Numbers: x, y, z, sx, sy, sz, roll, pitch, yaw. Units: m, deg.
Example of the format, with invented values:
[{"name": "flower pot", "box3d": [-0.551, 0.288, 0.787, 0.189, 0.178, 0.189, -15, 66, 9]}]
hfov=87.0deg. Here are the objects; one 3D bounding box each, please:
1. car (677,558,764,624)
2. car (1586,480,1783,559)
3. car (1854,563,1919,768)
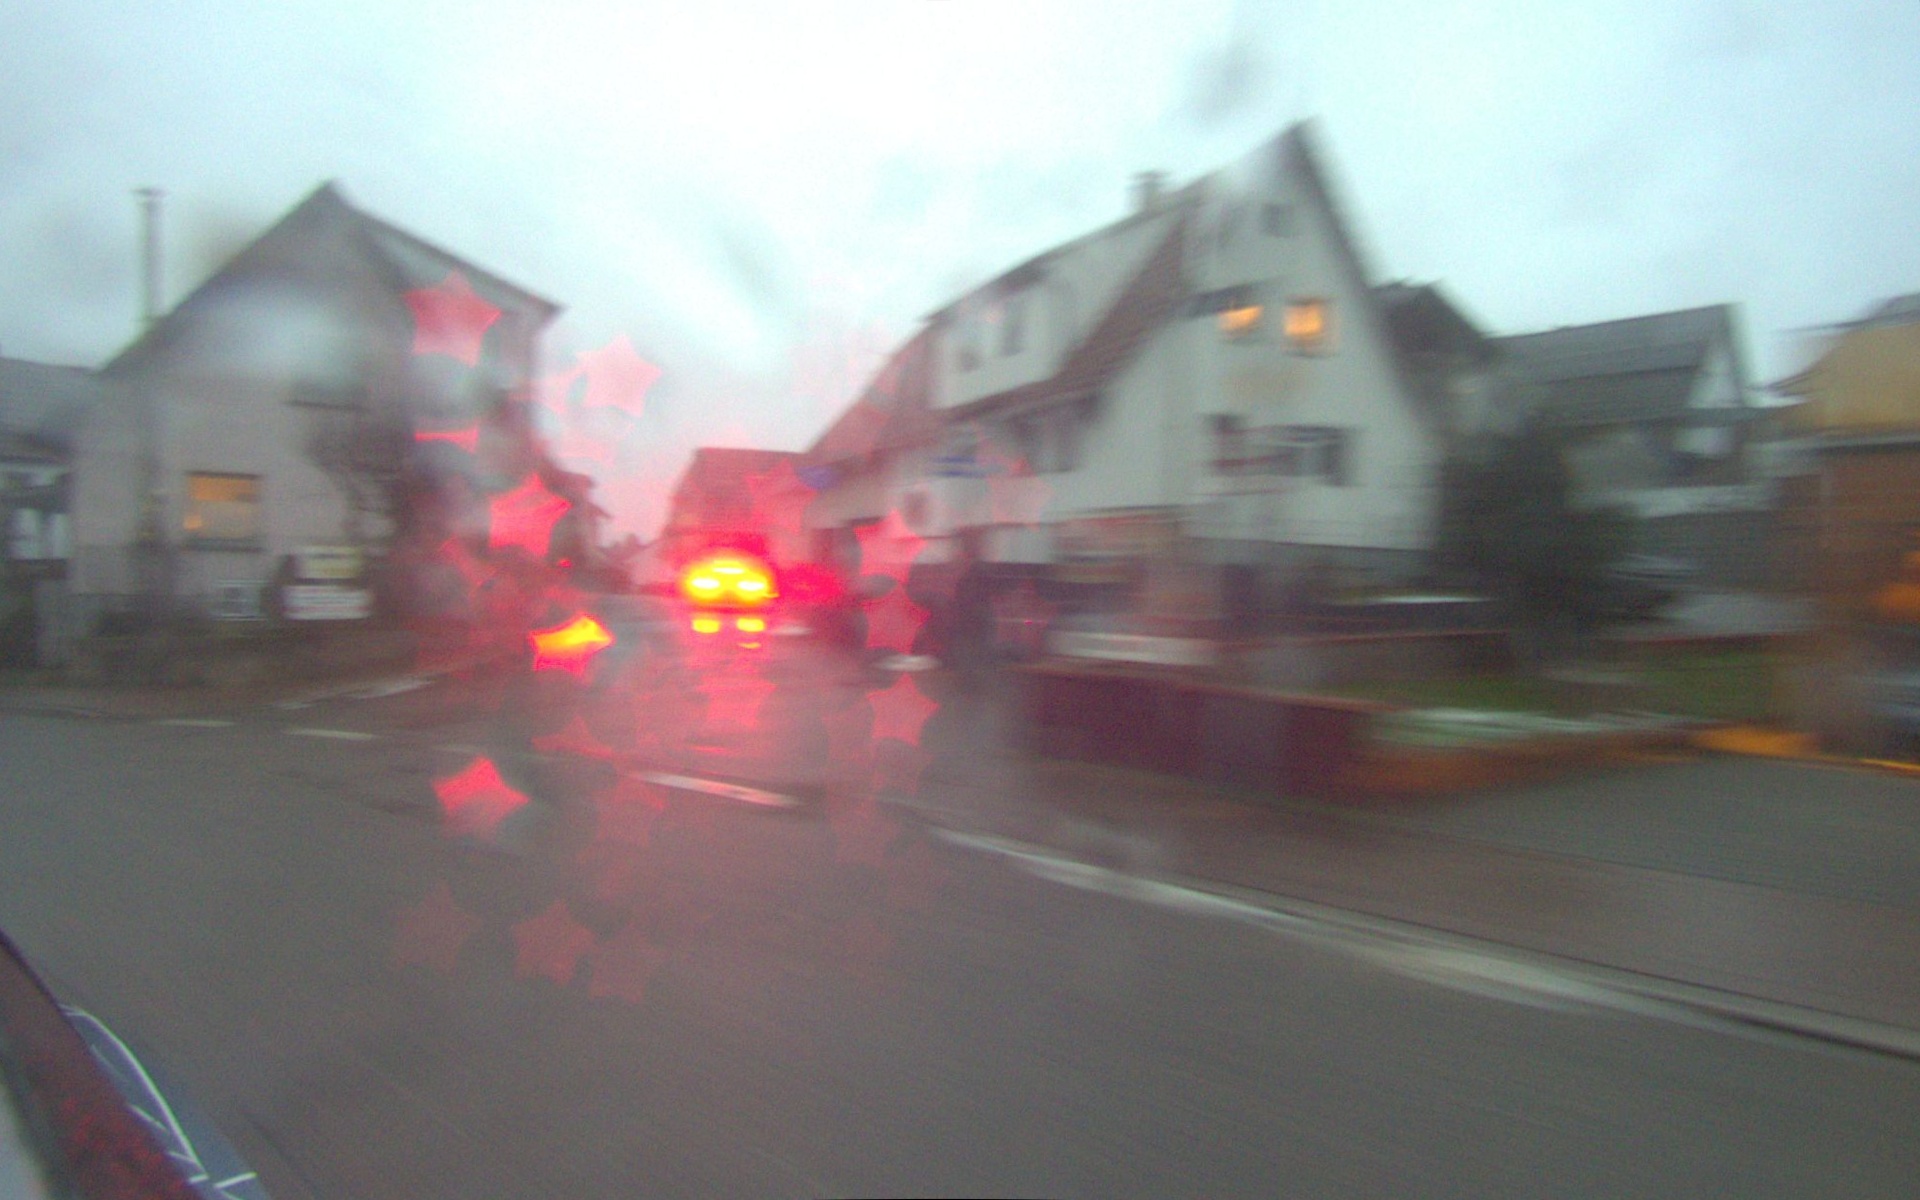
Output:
[{"name": "car", "box3d": [-6.730, -0.317, 28.154, 1.966, 1.643, 4.013, -2, 3, -19]}, {"name": "car", "box3d": [20.177, -2.184, 28.368, 1.965, 2.028, 4.014, -2, 3, -27]}, {"name": "car", "box3d": [8.662, 0.405, 7.598, 3.933, 1.427, 1.922, -2, 1, -33]}]
